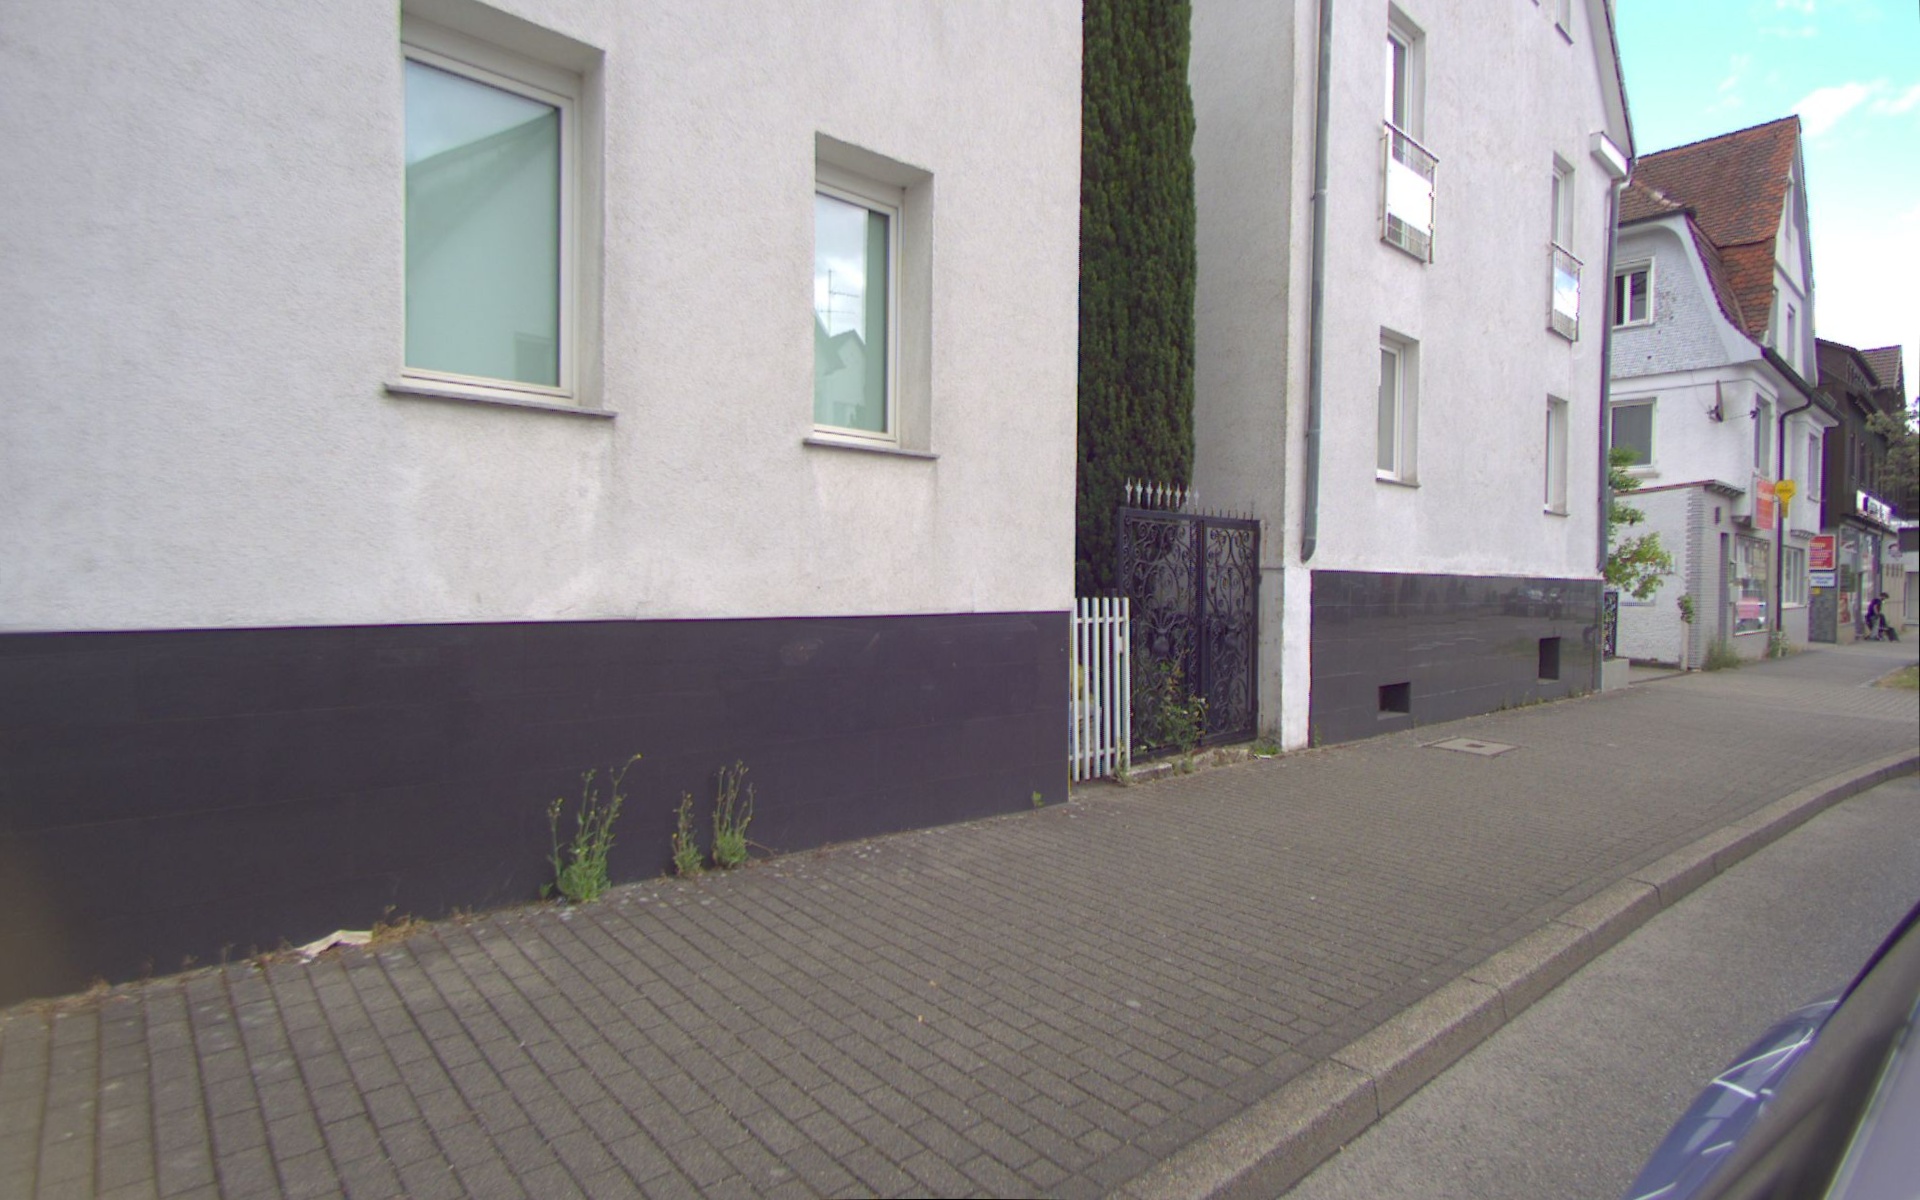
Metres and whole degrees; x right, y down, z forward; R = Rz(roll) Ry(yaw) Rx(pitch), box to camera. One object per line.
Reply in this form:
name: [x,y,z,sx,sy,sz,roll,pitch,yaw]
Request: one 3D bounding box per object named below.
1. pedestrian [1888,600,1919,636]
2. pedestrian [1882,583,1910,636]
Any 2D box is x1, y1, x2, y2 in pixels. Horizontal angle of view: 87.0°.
pedestrian: [32.734,0.617,35.083,0.633,1.226,0.741,0,2,-42]
pedestrian: [32.053,0.322,34.664,0.642,1.762,0.731,3,2,43]
